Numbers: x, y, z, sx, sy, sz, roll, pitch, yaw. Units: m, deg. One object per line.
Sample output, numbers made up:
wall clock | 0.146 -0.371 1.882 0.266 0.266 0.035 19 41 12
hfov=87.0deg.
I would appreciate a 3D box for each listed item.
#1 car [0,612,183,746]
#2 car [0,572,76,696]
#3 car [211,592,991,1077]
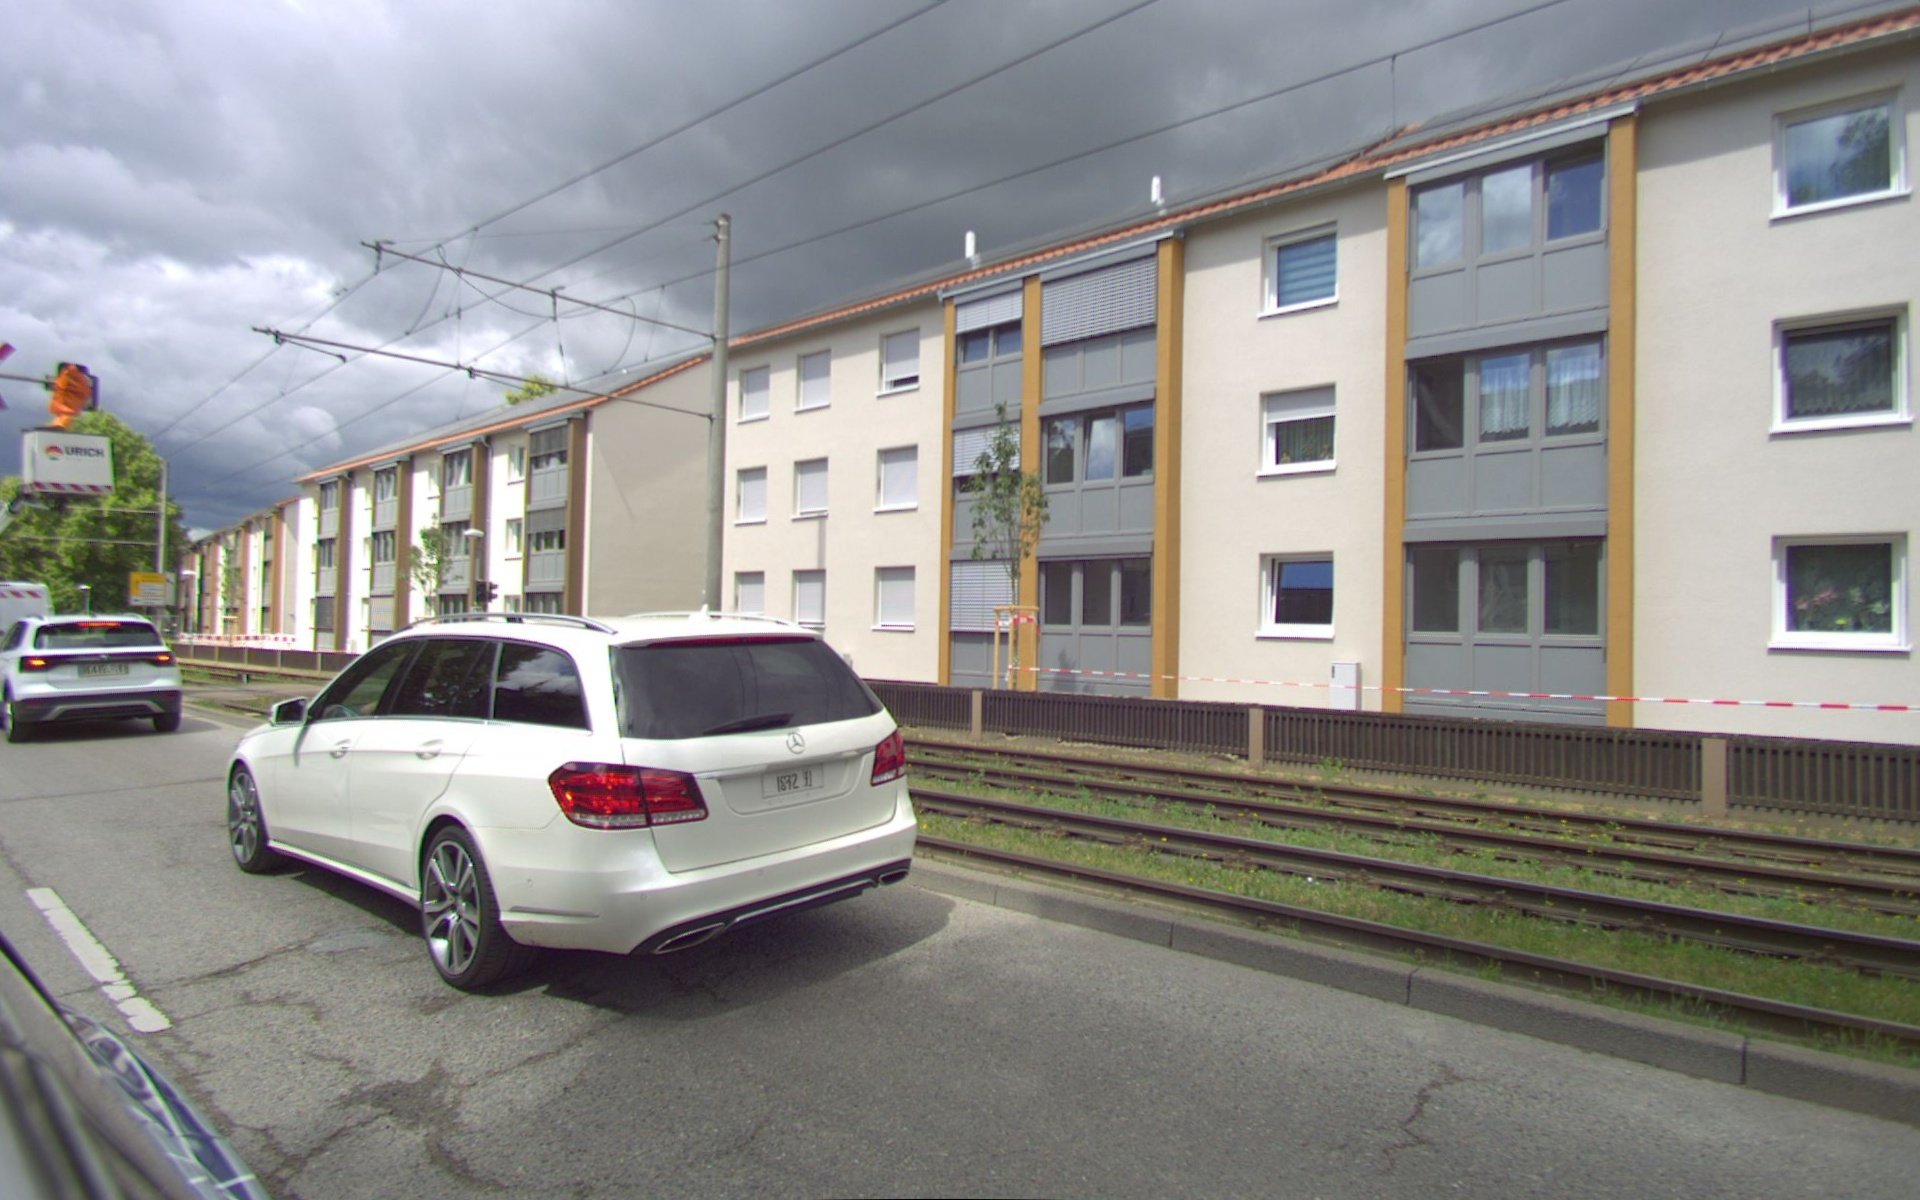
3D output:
car | -12.087 0.956 13.740 3.915 1.564 1.700 -1 -1 41
car | -21.299 0.733 22.155 6.316 2.449 1.973 -1 -2 40
car | -2.175 0.772 5.315 4.525 1.492 1.860 -1 -2 40
